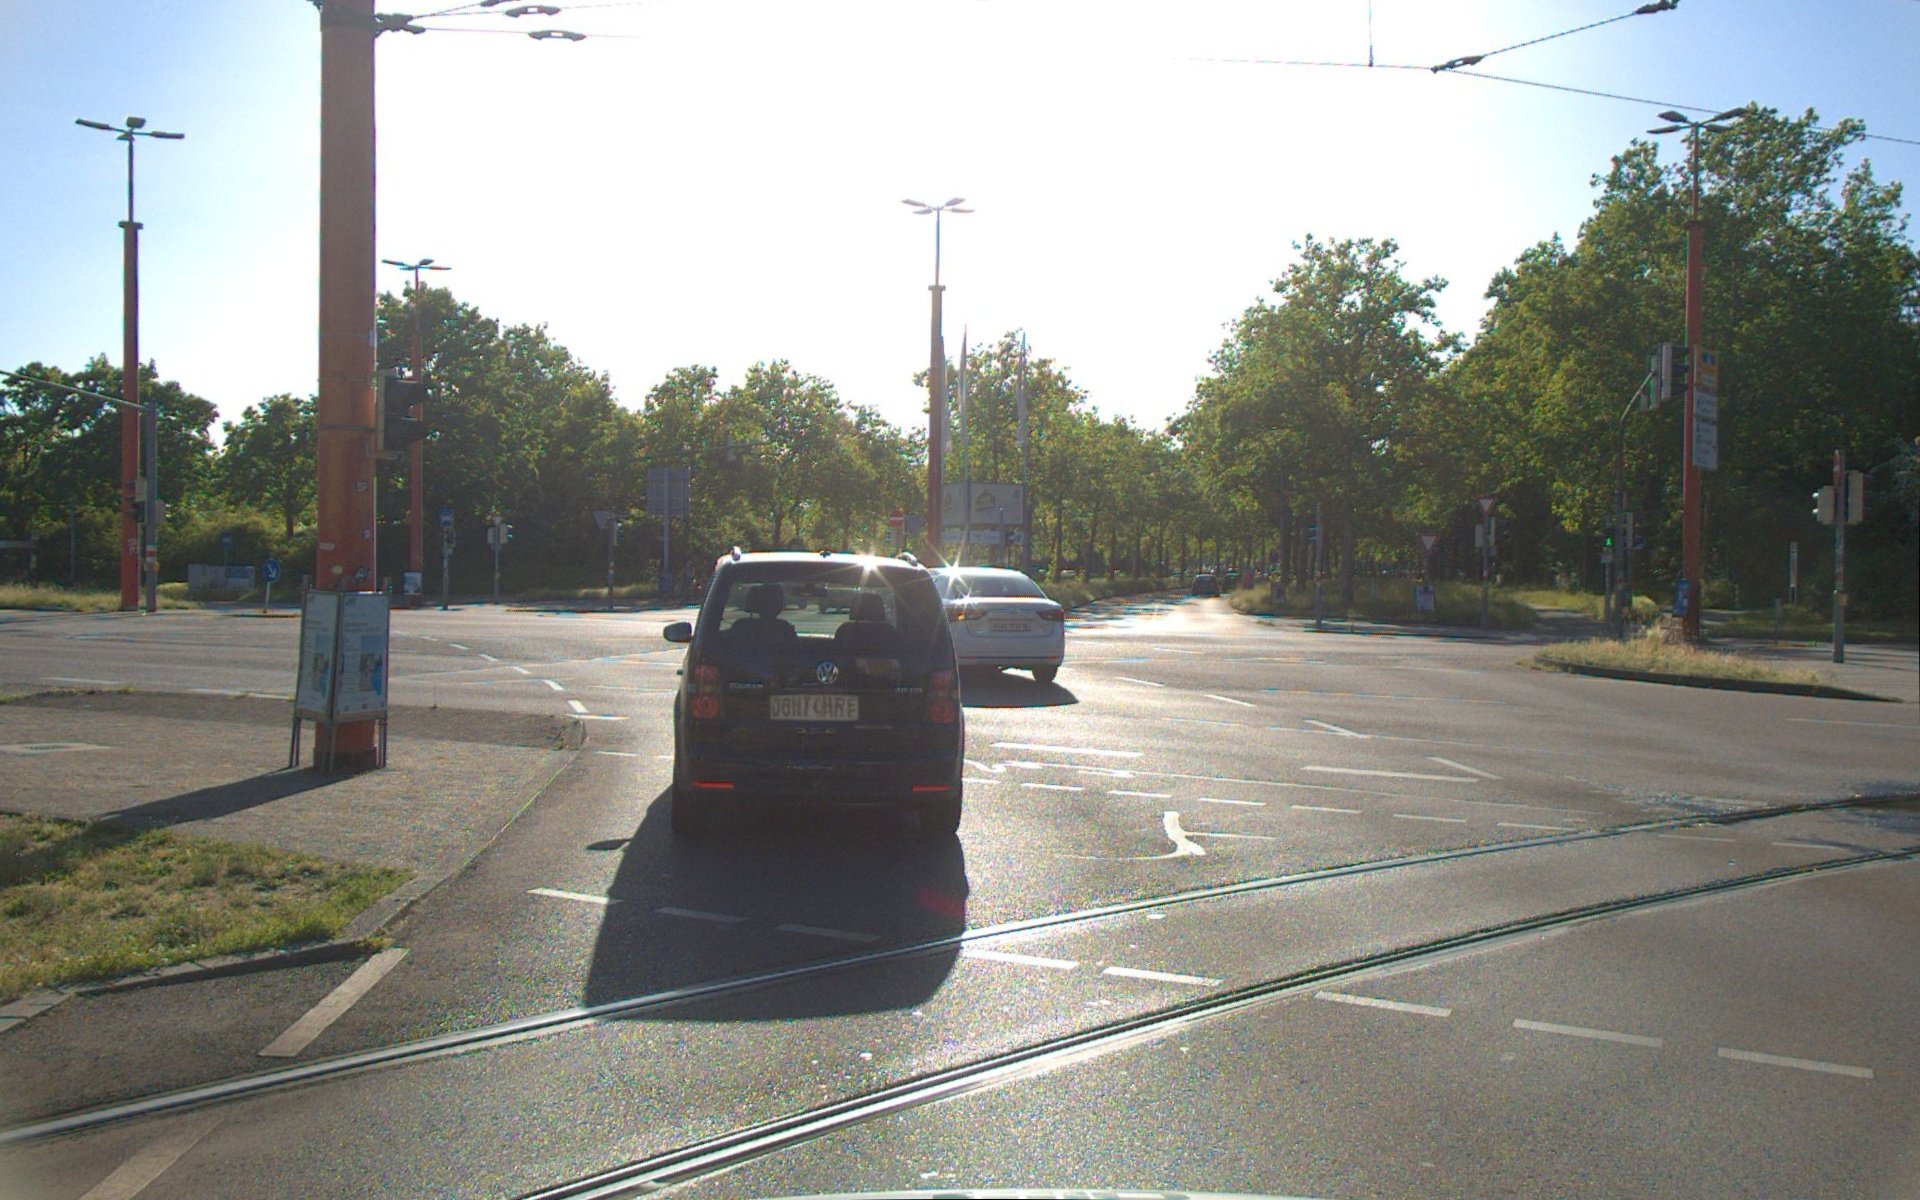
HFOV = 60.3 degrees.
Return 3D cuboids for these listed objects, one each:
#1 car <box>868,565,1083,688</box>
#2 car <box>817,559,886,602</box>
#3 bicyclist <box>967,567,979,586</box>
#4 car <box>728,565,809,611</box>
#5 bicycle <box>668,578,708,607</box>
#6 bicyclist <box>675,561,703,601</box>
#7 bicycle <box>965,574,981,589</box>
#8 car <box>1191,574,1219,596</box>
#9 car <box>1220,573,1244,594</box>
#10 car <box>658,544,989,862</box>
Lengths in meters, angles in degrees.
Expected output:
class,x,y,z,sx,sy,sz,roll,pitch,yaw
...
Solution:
class,x,y,z,sx,sy,sz,roll,pitch,yaw
car,0.092,0.288,22.543,1.739,1.489,4.346,1,1,-17
car,-4.137,-0.769,63.724,1.730,1.565,4.095,1,1,10
bicyclist,1.021,-1.809,127.214,0.719,1.461,0.966,0,1,15
car,-7.587,-0.500,66.062,1.861,1.756,4.658,1,1,11
bicycle,-10.890,-0.309,66.336,0.748,1.110,2.016,0,2,18
bicyclist,-10.878,-0.754,66.409,0.743,1.584,0.982,0,1,18
bicycle,0.995,-1.425,127.134,0.719,1.110,2.017,0,1,15
car,16.322,-1.016,110.189,1.751,1.412,4.053,2,1,9
car,23.063,-1.373,140.477,1.832,1.655,4.003,2,0,8
car,-0.939,0.508,11.239,1.733,1.672,4.918,1,1,-5
